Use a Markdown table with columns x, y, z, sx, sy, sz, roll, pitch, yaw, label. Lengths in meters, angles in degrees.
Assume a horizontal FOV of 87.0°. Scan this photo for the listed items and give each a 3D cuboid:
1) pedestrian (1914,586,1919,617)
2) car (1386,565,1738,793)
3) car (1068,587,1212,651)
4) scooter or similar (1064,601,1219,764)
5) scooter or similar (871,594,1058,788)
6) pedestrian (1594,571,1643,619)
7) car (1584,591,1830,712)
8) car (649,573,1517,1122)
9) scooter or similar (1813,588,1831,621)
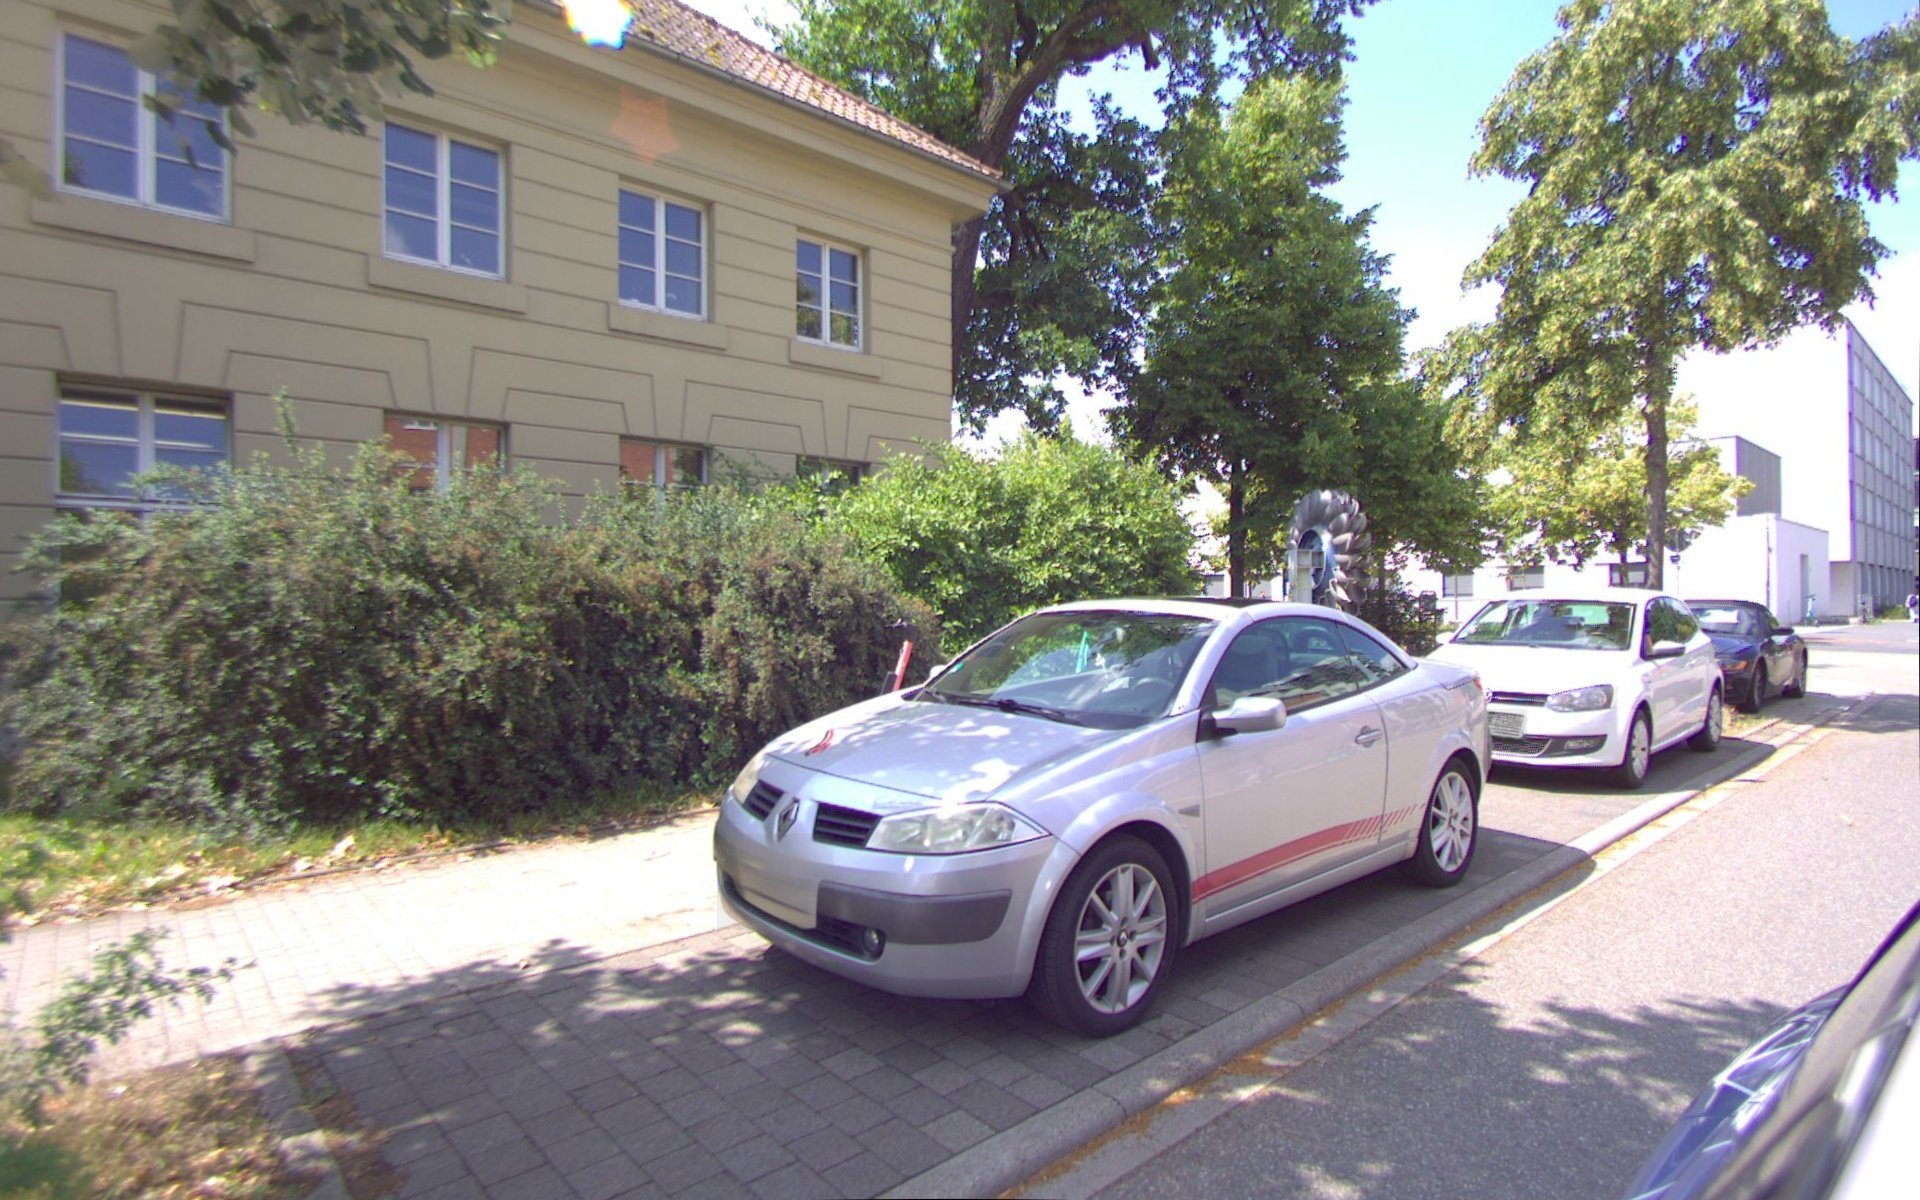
| x | y | z | sx | sy | sz | roll | pitch | yaw | label |
| --- | --- | --- | --- | --- | --- | --- | --- | --- | --- |
| 45.132 | 0.061 | 47.384 | 0.688 | 1.457 | 0.525 | 0 | -1 | -39 | pedestrian |
| 5.209 | 0.522 | 8.529 | 3.923 | 1.485 | 1.588 | 0 | -1 | -44 | car |
| 5.211 | 0.526 | 28.971 | 4.289 | 1.673 | 1.890 | 0 | -1 | -44 | car |
| 1.502 | 0.638 | 8.332 | 1.212 | 1.237 | 0.522 | -1 | 0 | -32 | scooter or similar |
| 0.010 | 0.614 | 7.048 | 1.241 | 1.283 | 0.597 | 1 | -1 | -4 | scooter or similar |
| 25.616 | -0.201 | 39.382 | 1.000 | 1.823 | 1.174 | 1 | 0 | -13 | pedestrian |
| 9.691 | 0.564 | 13.029 | 3.930 | 1.296 | 1.710 | -1 | 0 | -41 | car |
| 0.827 | 0.633 | 4.514 | 3.918 | 1.408 | 1.649 | 0 | 0 | -41 | car |
| 33.420 | 0.168 | 39.233 | 1.054 | 1.251 | 0.326 | -1 | -1 | -39 | scooter or similar |
